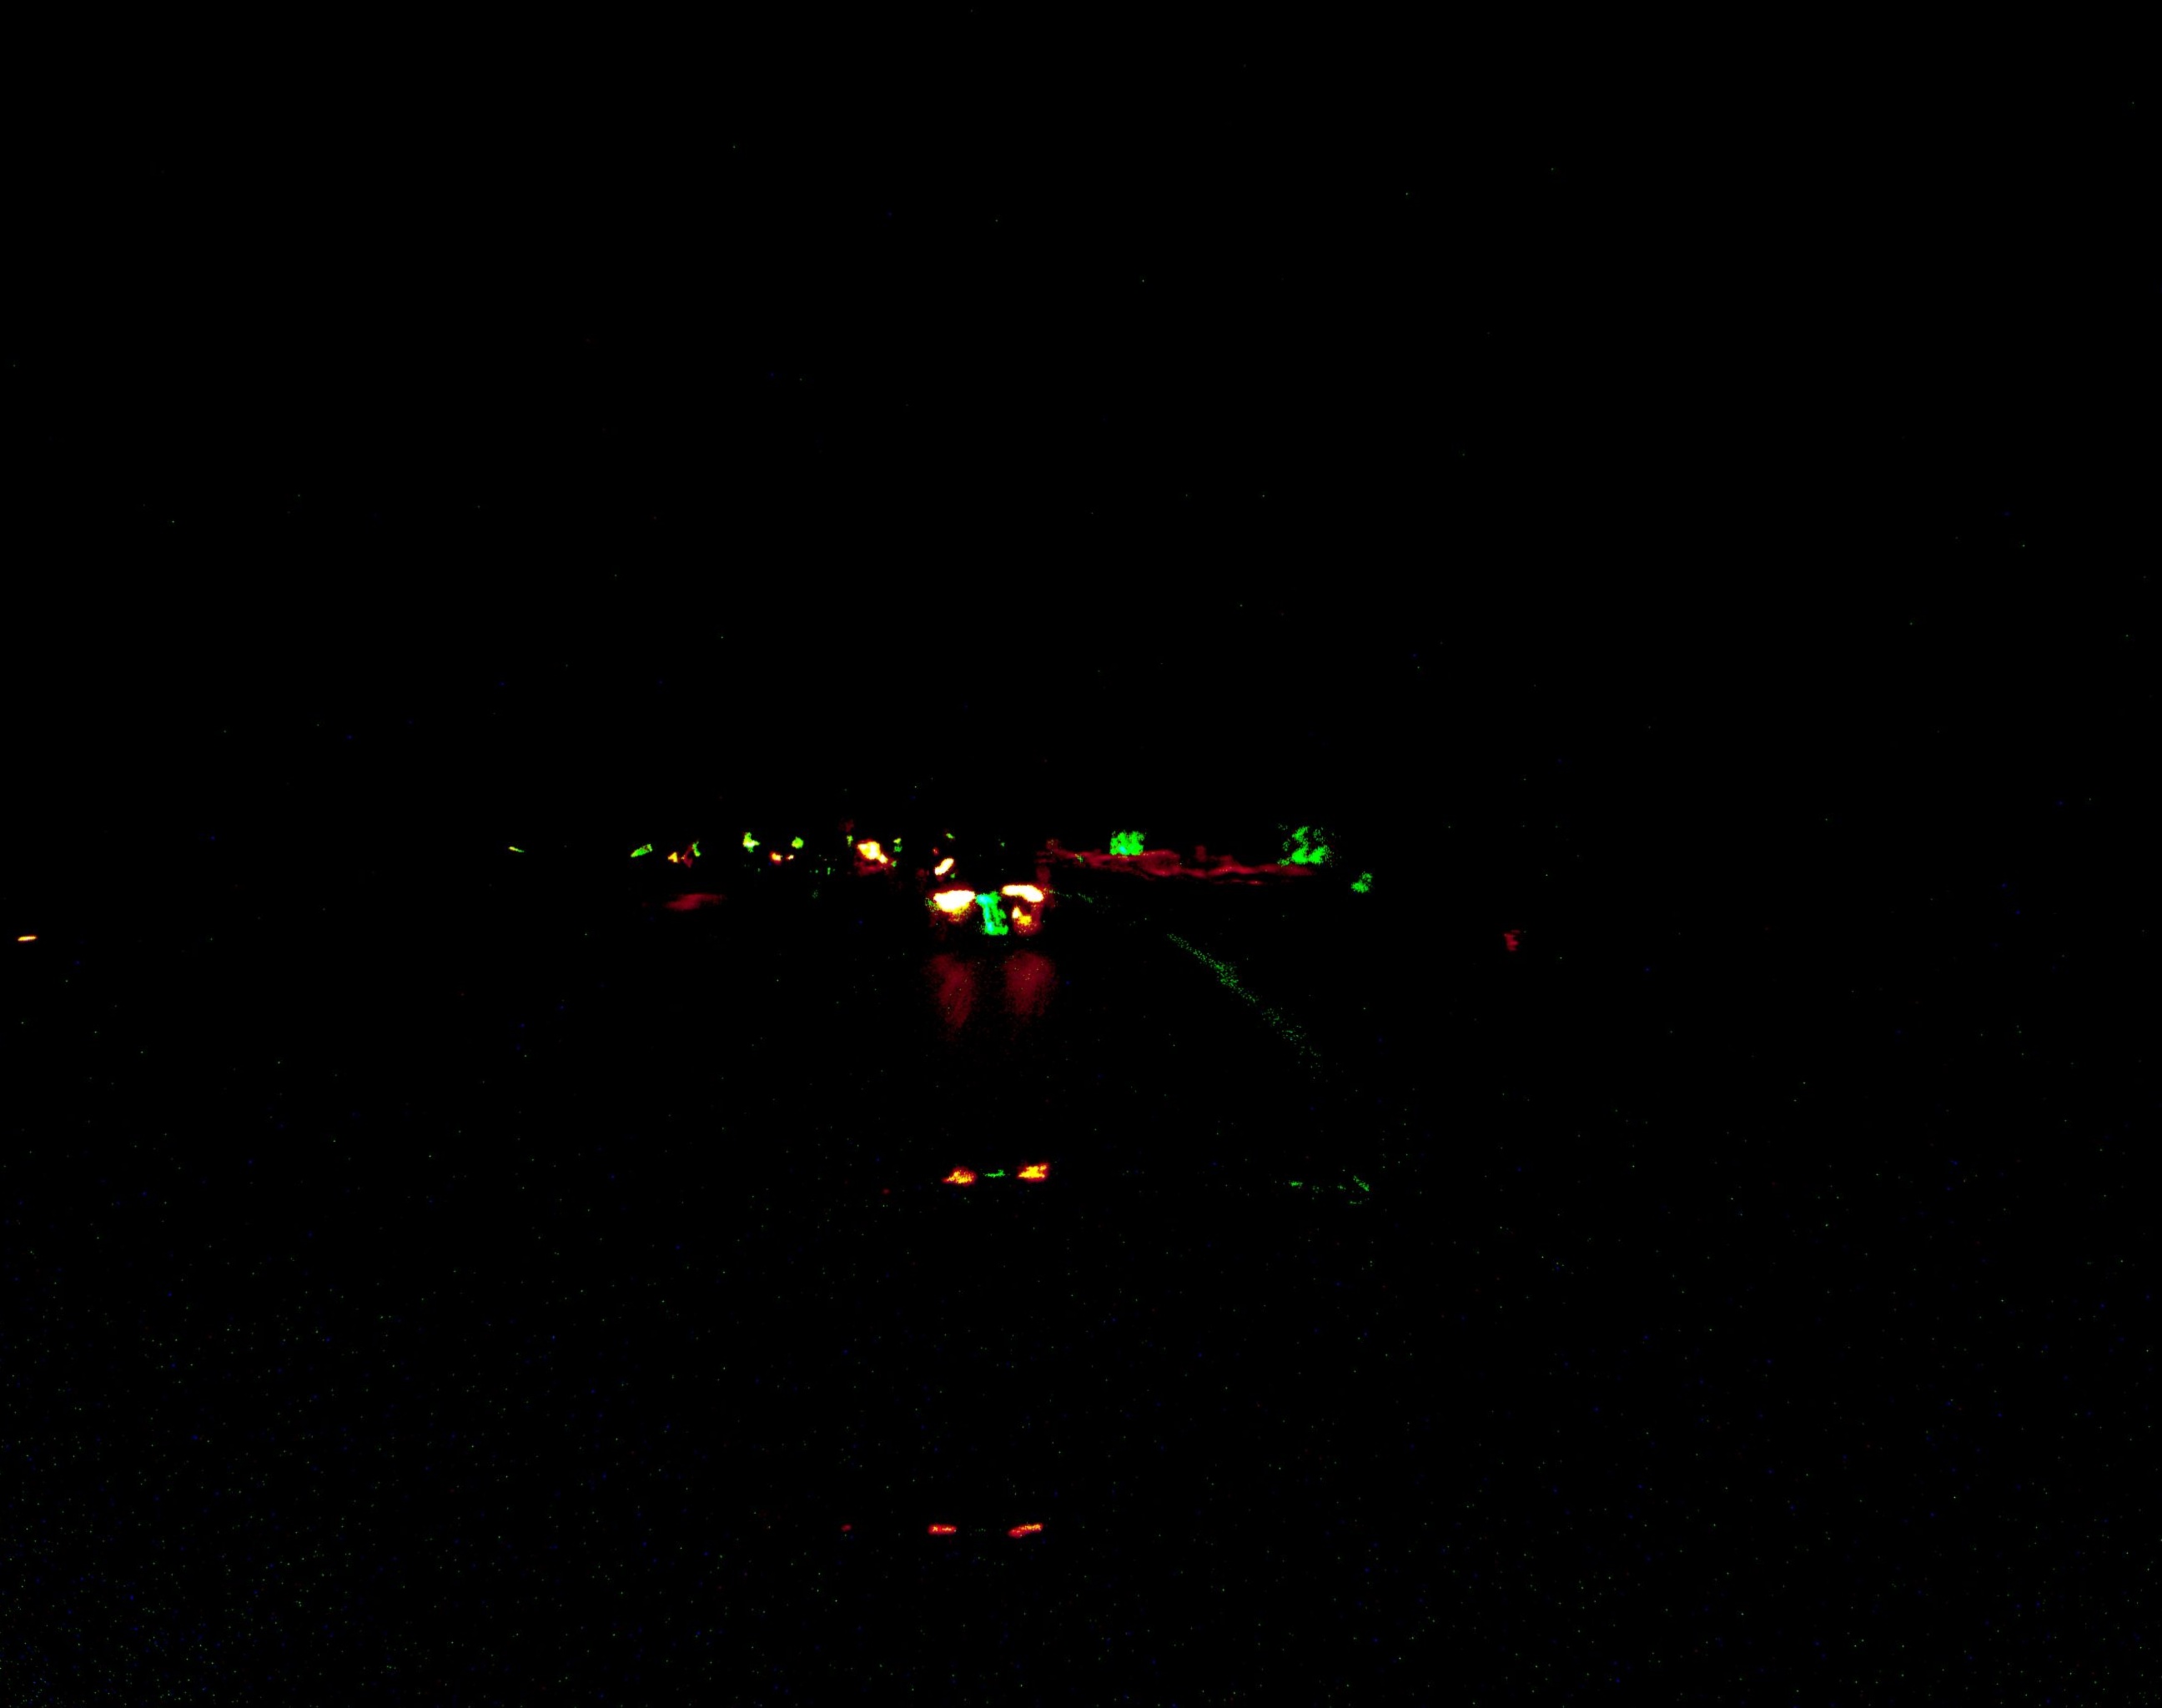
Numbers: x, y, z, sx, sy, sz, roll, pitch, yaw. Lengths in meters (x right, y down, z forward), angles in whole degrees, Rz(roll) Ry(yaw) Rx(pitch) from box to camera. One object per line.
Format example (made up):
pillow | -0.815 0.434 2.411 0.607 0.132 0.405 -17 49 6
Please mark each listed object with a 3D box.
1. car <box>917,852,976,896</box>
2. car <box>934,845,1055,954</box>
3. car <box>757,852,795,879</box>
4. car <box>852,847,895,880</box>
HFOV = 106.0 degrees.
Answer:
car | -5.896 0.828 35.395 1.901 1.720 4.021 -2 0 -18
car | -1.560 0.691 14.928 1.858 1.647 4.061 -2 1 -6
car | -23.934 0.860 63.801 1.909 1.997 4.003 -2 1 -33
car | -13.454 0.578 52.711 1.905 2.040 4.011 -1 0 -26
